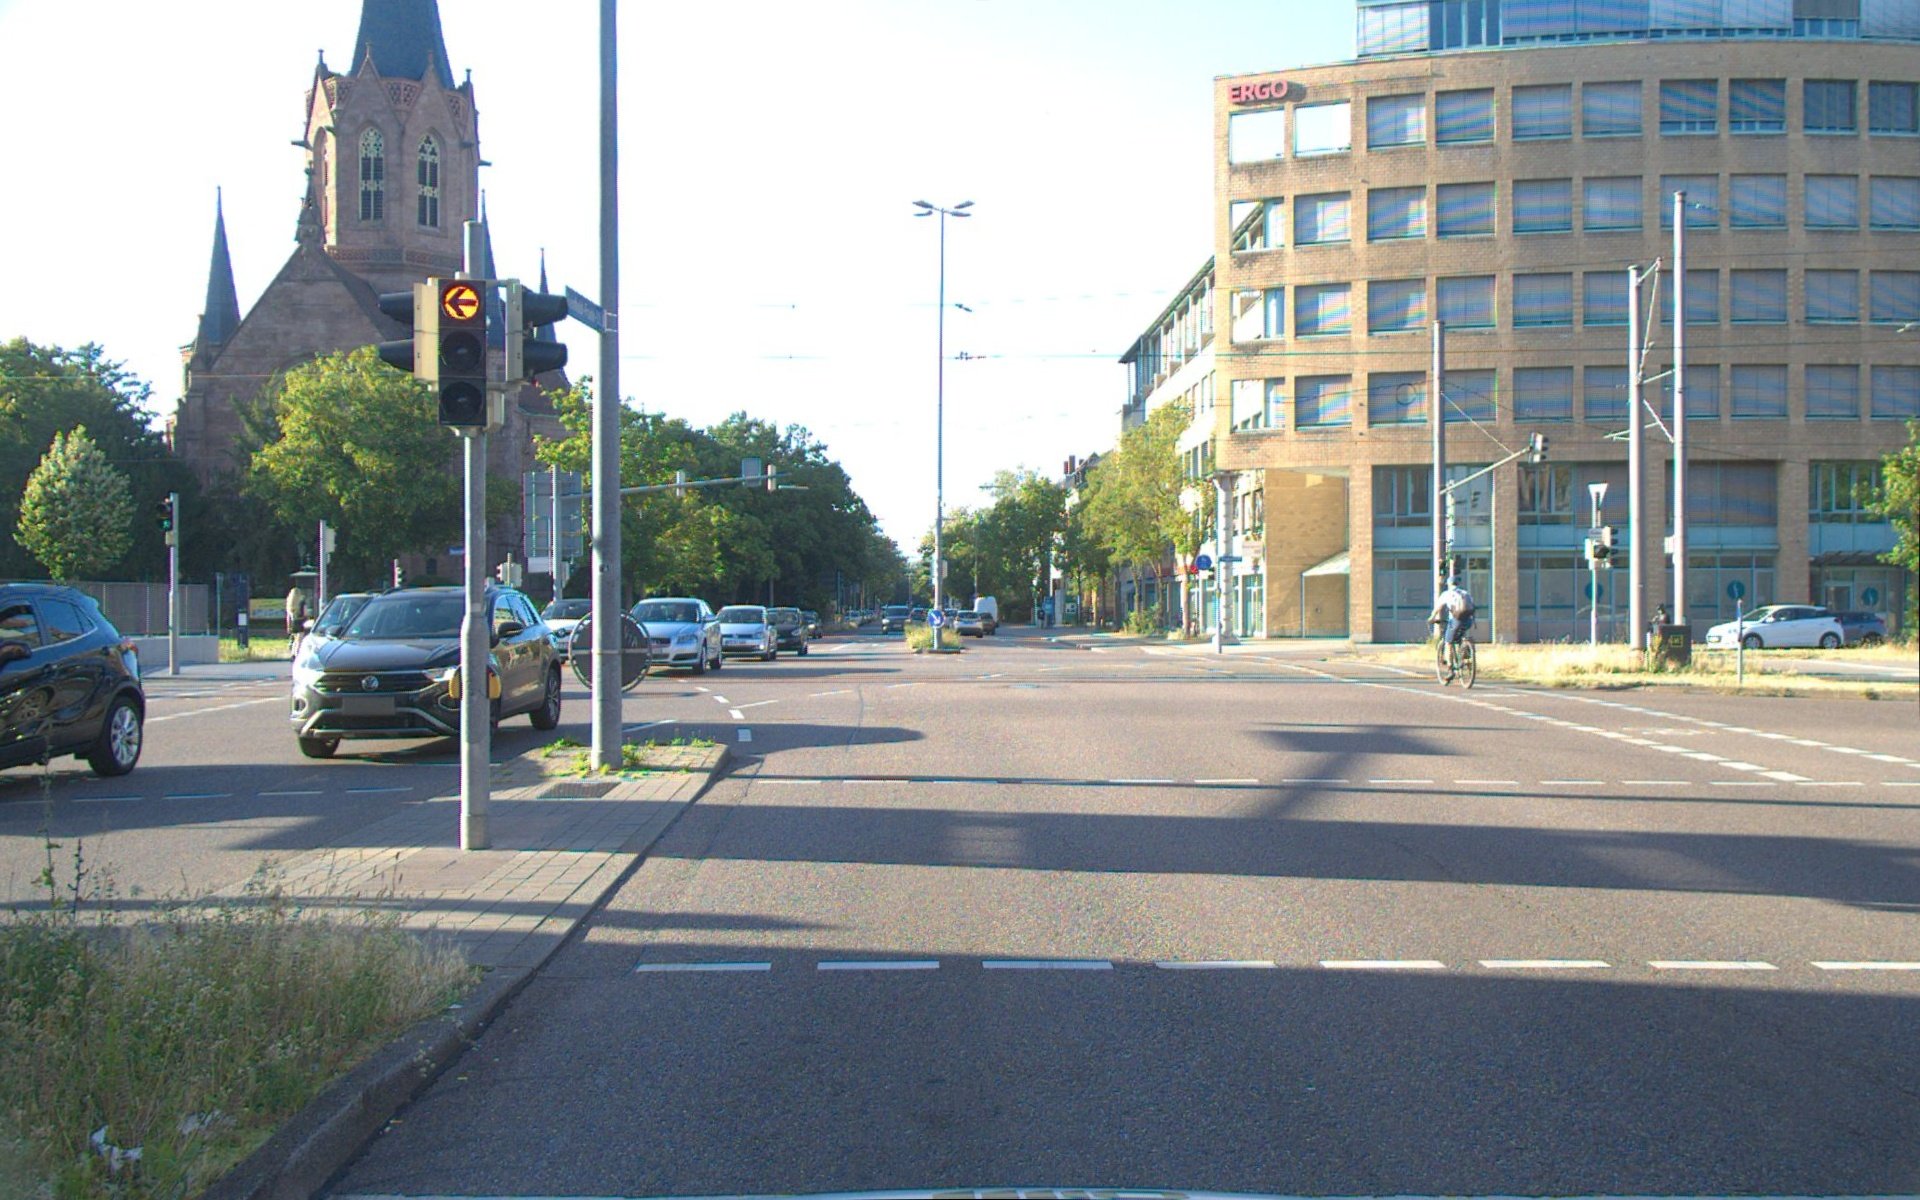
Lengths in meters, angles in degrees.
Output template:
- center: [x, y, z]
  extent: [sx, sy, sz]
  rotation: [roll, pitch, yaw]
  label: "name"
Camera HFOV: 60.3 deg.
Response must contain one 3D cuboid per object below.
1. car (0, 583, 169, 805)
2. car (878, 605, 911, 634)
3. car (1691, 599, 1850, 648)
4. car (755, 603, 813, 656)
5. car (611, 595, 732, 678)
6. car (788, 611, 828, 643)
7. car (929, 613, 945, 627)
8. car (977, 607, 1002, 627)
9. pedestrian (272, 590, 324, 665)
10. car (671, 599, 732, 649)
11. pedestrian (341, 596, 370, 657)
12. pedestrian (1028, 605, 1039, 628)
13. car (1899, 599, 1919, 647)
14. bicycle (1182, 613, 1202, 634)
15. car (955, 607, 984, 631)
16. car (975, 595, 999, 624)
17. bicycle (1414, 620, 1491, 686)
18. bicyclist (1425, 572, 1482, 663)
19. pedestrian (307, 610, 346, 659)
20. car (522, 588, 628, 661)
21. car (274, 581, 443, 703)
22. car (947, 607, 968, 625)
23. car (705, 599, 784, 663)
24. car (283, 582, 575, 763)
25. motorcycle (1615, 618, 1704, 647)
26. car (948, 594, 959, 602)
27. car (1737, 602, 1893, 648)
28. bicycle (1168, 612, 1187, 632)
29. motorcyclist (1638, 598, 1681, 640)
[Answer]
- center: [-8.062, 0.722, 13.083]
  extent: [1.685, 1.657, 4.101]
  rotation: [-2, 0, -2]
  label: "car"
- center: [-4.084, 1.246, 103.498]
  extent: [1.953, 1.754, 5.029]
  rotation: [-1, -1, -2]
  label: "car"
- center: [25.588, 0.733, 52.319]
  extent: [4.080, 1.518, 1.994]
  rotation: [0, -1, -3]
  label: "car"
- center: [-5.748, 0.941, 54.178]
  extent: [1.546, 1.571, 3.476]
  rotation: [-2, 0, -1]
  label: "car"
- center: [-5.573, 0.654, 32.348]
  extent: [1.674, 1.450, 4.101]
  rotation: [-2, 0, -1]
  label: "car"
- center: [-8.569, 1.552, 93.475]
  extent: [1.953, 1.754, 4.591]
  rotation: [-1, -1, -2]
  label: "car"
- center: [-2.219, 1.904, 160.627]
  extent: [1.562, 1.289, 3.266]
  rotation: [0, 0, -1]
  label: "car"
- center: [1.959, 1.130, 111.012]
  extent: [1.562, 1.289, 3.266]
  rotation: [0, 0, -1]
  label: "car"
- center: [-15.760, 0.655, 39.389]
  extent: [0.945, 1.770, 0.811]
  rotation: [0, -1, -3]
  label: "pedestrian"
- center: [-8.834, 0.796, 56.686]
  extent: [1.546, 1.571, 3.476]
  rotation: [-2, 0, -1]
  label: "car"
- center: [-17.303, 0.754, 47.335]
  extent: [0.697, 1.726, 0.891]
  rotation: [1, -1, -18]
  label: "pedestrian"
- center: [5.826, 1.281, 130.748]
  extent: [0.830, 1.835, 0.775]
  rotation: [0, 0, -1]
  label: "pedestrian"
- center: [32.348, 0.707, 52.582]
  extent: [3.970, 1.518, 1.819]
  rotation: [0, -1, -2]
  label: "car"
- center: [11.299, 1.121, 80.650]
  extent: [0.633, 1.012, 2.080]
  rotation: [0, 0, -2]
  label: "bicycle"
- center: [0.544, 1.070, 93.809]
  extent: [1.562, 1.289, 3.266]
  rotation: [0, 0, -1]
  label: "car"
- center: [2.324, 0.849, 144.816]
  extent: [1.953, 2.483, 3.999]
  rotation: [1, 0, -1]
  label: "car"
- center: [7.729, 0.816, 26.026]
  extent: [0.580, 0.959, 1.978]
  rotation: [1, 0, -1]
  label: "bicycle"
- center: [7.738, 0.265, 25.959]
  extent: [0.580, 1.393, 0.929]
  rotation: [1, 0, -1]
  label: "bicyclist"
- center: [-22.469, 1.219, 58.654]
  extent: [0.994, 1.726, 0.843]
  rotation: [1, -1, 29]
  label: "pedestrian"
- center: [-8.947, 0.542, 38.665]
  extent: [1.641, 1.571, 3.637]
  rotation: [-2, 0, -1]
  label: "car"
- center: [-8.642, 0.560, 23.972]
  extent: [1.504, 1.620, 2.806]
  rotation: [-2, 0, -3]
  label: "car"
- center: [-0.193, 1.179, 124.031]
  extent: [1.562, 1.289, 3.266]
  rotation: [0, 0, -1]
  label: "car"
- center: [-5.780, 0.801, 44.717]
  extent: [1.641, 1.571, 3.805]
  rotation: [-2, 0, -1]
  label: "car"
- center: [-5.221, 0.632, 16.844]
  extent: [1.641, 1.571, 4.102]
  rotation: [-2, 0, -1]
  label: "car"
- center: [24.230, 1.119, 57.315]
  extent: [2.663, 0.981, 1.031]
  rotation: [0, -1, -2]
  label: "motorcycle"
- center: [-0.988, -0.338, 255.634]
  extent: [1.562, 1.289, 3.266]
  rotation: [0, 0, -1]
  label: "car"
- center: [29.676, 0.868, 57.478]
  extent: [4.390, 1.564, 1.986]
  rotation: [0, -1, -1]
  label: "car"
- center: [11.188, 1.140, 85.184]
  extent: [0.633, 1.012, 2.080]
  rotation: [0, 0, -2]
  label: "bicycle"
- center: [24.242, 0.660, 57.322]
  extent: [1.044, 1.460, 1.031]
  rotation: [0, -1, -2]
  label: "motorcyclist"
